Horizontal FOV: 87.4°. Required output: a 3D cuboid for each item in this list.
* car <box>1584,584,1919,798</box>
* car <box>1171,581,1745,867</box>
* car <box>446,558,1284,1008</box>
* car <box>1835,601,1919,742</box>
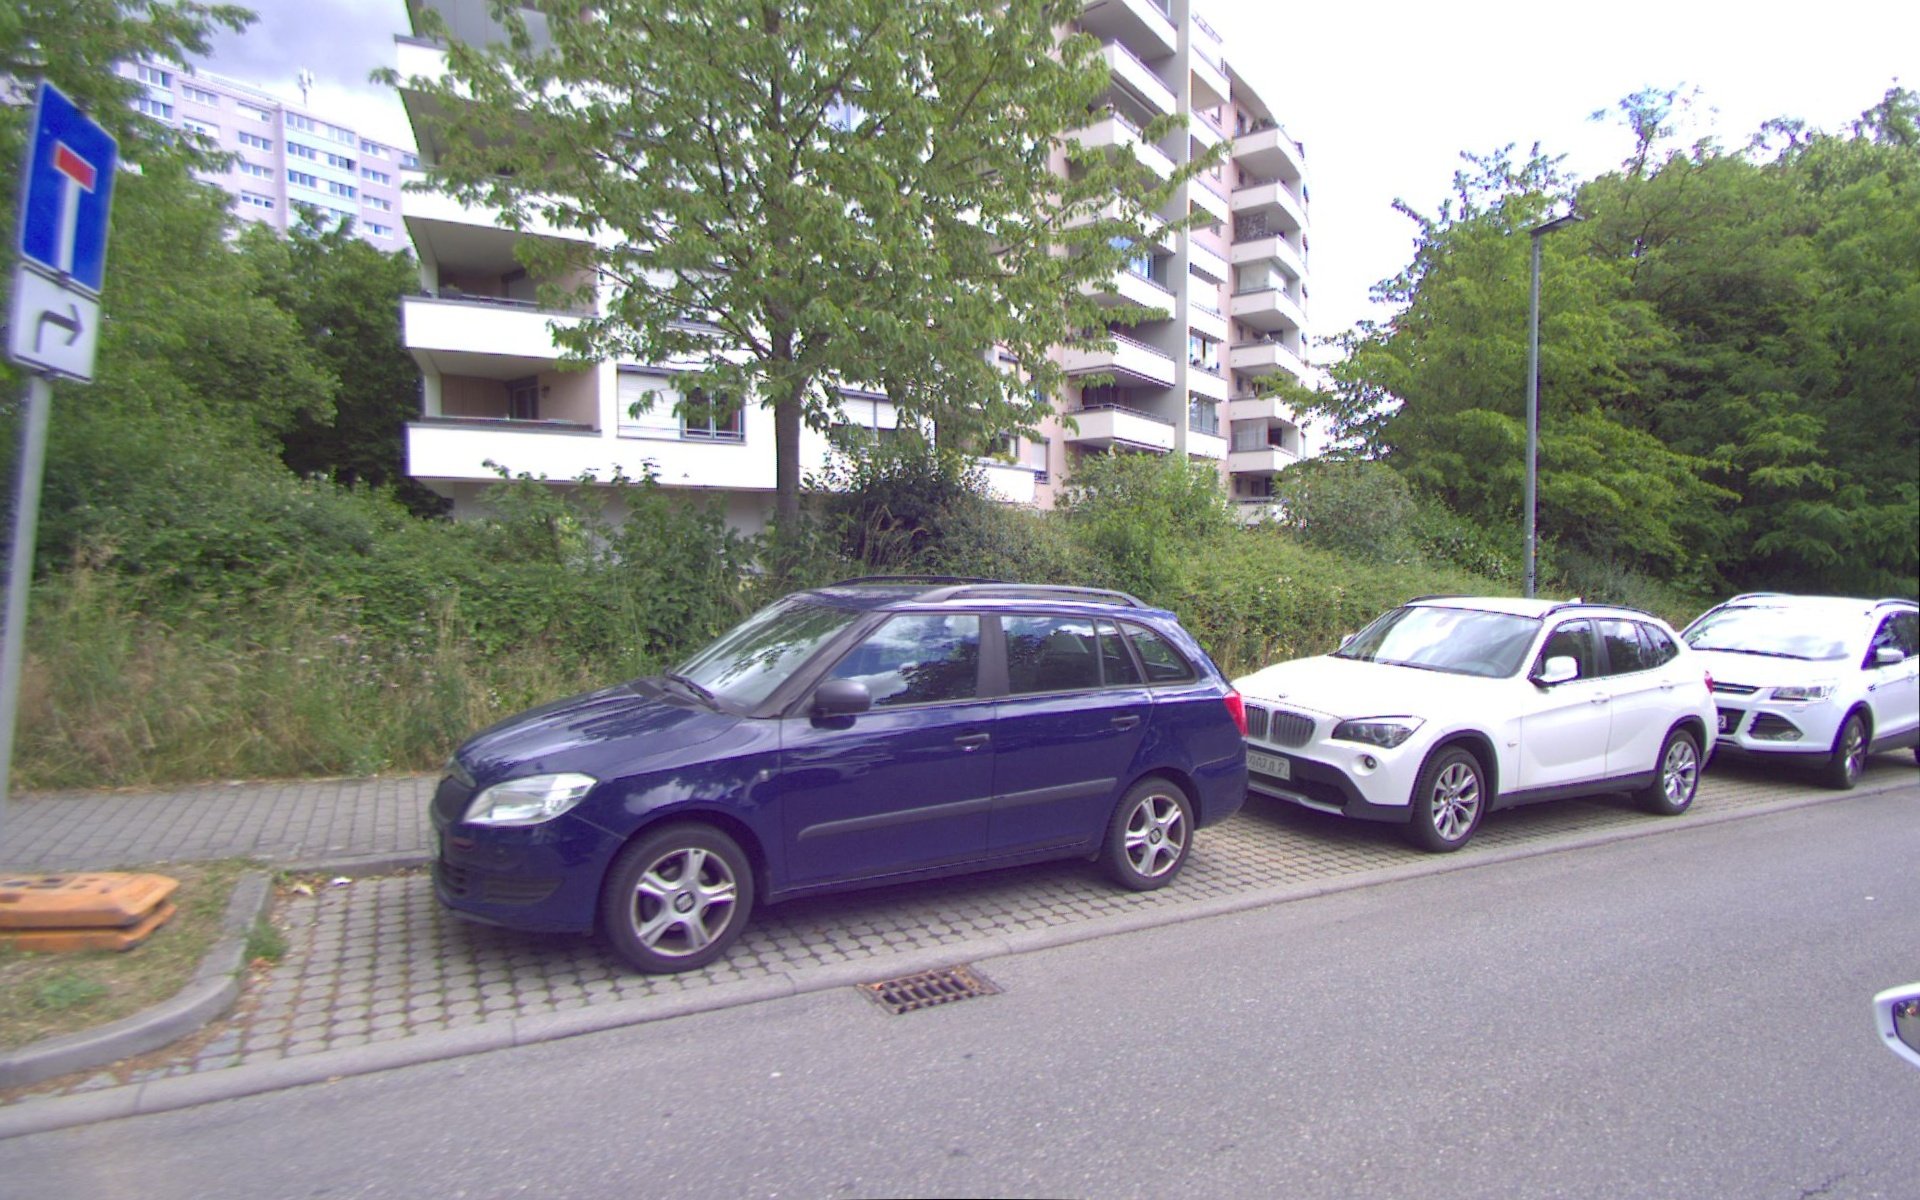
[{"bbox_3d":[8.557,0.768,10.217,4.383,1.687,1.798,1,4,-30],"label":"car"},{"bbox_3d":[3.751,0.705,7.418,4.179,1.532,1.682,1,4,-30],"label":"car"},{"bbox_3d":[-0.418,0.625,5.140,3.905,1.508,1.682,1,4,-29],"label":"car"},{"bbox_3d":[13.489,0.913,13.018,4.424,1.637,1.790,1,4,-30],"label":"car"}]
